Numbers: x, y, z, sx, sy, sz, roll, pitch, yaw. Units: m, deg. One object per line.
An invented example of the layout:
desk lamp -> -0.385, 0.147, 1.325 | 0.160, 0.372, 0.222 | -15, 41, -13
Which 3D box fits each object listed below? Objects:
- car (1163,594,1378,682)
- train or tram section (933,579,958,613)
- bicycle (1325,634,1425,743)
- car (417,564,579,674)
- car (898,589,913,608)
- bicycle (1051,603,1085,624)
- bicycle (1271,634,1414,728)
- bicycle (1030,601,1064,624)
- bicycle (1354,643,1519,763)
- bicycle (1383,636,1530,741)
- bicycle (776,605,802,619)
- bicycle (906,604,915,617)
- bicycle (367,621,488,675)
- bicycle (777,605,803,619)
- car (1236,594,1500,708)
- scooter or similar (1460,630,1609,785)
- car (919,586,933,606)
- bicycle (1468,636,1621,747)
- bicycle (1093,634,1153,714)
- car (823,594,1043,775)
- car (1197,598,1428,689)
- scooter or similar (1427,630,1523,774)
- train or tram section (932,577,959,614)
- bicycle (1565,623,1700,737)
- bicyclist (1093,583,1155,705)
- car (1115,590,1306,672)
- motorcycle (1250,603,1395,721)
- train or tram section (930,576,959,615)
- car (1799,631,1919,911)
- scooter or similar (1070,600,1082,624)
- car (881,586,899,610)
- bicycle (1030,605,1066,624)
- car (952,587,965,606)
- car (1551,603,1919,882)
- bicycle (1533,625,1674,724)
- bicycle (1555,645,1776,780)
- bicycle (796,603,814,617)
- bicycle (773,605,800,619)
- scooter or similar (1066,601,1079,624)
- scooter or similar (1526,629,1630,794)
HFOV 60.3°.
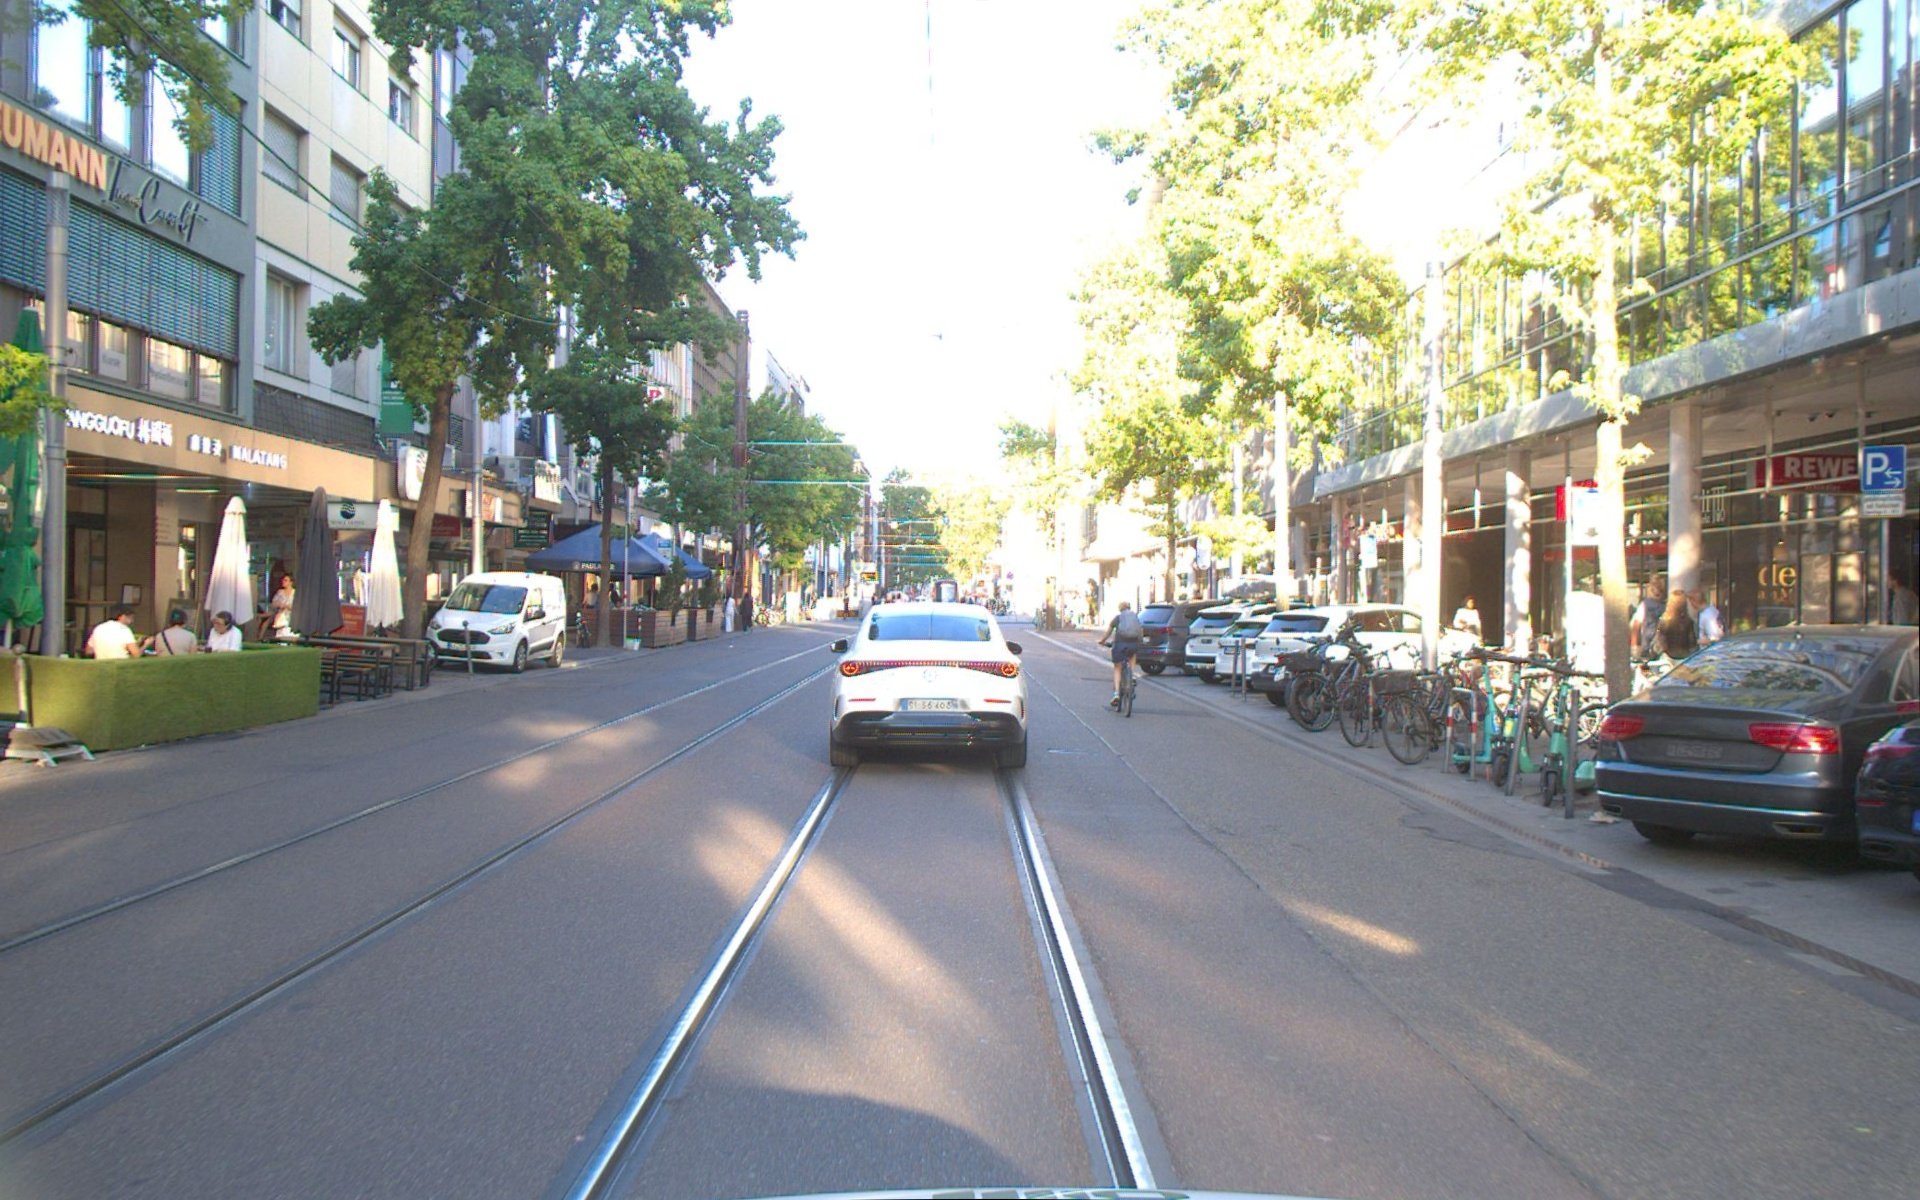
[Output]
car -> 6.419, 0.747, 34.085 | 4.194, 1.615, 1.864 | -2, 0, -32
train or tram section -> -1.580, -0.467, 181.869 | 2.639, 3.578, 11.141 | 0, 0, 0
bicycle -> 5.003, 1.044, 19.879 | 0.472, 1.183, 1.687 | -3, 0, 39
car -> -8.953, 0.347, 32.448 | 1.759, 1.897, 4.554 | 3, 0, 1
car -> -7.449, -0.217, 226.659 | 1.871, 2.504, 5.274 | 0, 0, 0
bicycle -> 6.272, 0.790, 96.195 | 1.874, 1.177, 0.608 | -1, 0, -12
bicycle -> 5.066, 1.051, 21.862 | 1.870, 1.139, 0.661 | -2, -1, -30
bicycle -> 5.085, 0.743, 96.991 | 1.874, 1.304, 0.608 | -1, 0, -12
bicycle -> 5.090, 1.075, 17.666 | 1.543, 1.107, 0.860 | -3, 2, -31
bicycle -> 5.900, 1.030, 19.639 | 1.669, 1.125, 0.626 | -2, 0, -27
bicycle -> -9.987, 0.709, 96.750 | 1.462, 0.797, 0.344 | 2, 0, 1
bicycle -> -4.465, 0.940, 148.666 | 0.784, 1.162, 2.256 | 2, 0, -2
bicycle -> -9.298, 0.841, 28.929 | 0.821, 0.880, 1.852 | 3, 0, 38
bicycle -> -9.957, 0.703, 97.119 | 1.462, 0.797, 0.344 | 2, 0, 1
car -> 6.585, 0.768, 26.587 | 4.110, 1.599, 1.832 | -2, 0, -34
scooter or similar -> 5.272, 0.961, 15.154 | 1.290, 1.298, 0.558 | -3, 0, -32
car -> -5.290, -0.621, 258.727 | 2.056, 2.948, 5.274 | 0, 0, 0
bicycle -> 6.560, 1.002, 18.551 | 1.652, 1.093, 0.725 | -3, 2, -31
bicycle -> 2.338, 1.026, 23.561 | 0.703, 1.012, 2.060 | 3, 0, 8
car -> -0.249, 0.712, 16.045 | 1.819, 1.481, 4.174 | 2, 0, -1
car -> 6.700, 0.789, 31.384 | 4.092, 1.525, 1.676 | -2, 0, -25
scooter or similar -> 4.995, 0.965, 16.107 | 0.441, 1.298, 1.306 | -3, 0, -1
train or tram section -> -1.508, -0.458, 170.029 | 2.639, 3.578, 12.543 | 0, 0, 0
bicycle -> 7.765, 0.899, 19.091 | 1.253, 1.193, 0.859 | -3, 2, -31
bicyclist -> 2.316, 0.609, 23.294 | 0.761, 1.641, 0.913 | 2, 0, 8
car -> 5.782, 0.684, 38.013 | 4.300, 1.681, 1.676 | -2, 0, -32
motorcycle -> 5.154, 0.850, 23.430 | 2.302, 1.536, 0.845 | -1, -1, -45
train or tram section -> -1.438, -0.443, 157.478 | 2.639, 3.578, 12.543 | 0, 0, 0
car -> 7.275, 0.866, 9.404 | 4.586, 1.451, 1.921 | -1, 0, -22
scooter or similar -> 6.441, 0.680, 91.626 | 0.482, 1.299, 0.658 | -1, 0, -12
car -> -8.781, -0.303, 207.861 | 1.953, 2.948, 5.274 | 0, 0, 0
bicycle -> 5.300, 0.858, 99.977 | 2.076, 1.115, 0.608 | 1, -1, -12
car -> -0.200, -0.531, 259.098 | 2.056, 2.948, 5.284 | 0, 0, 0
car -> 6.624, 0.838, 11.983 | 5.006, 1.494, 1.952 | -2, 0, -37
bicycle -> 8.181, 0.929, 21.023 | 1.751, 1.125, 0.627 | -2, 0, -26
bicycle -> 6.441, 0.994, 15.190 | 0.546, 1.127, 1.826 | -2, 0, -36
bicycle -> -11.207, 0.709, 119.698 | 0.703, 1.027, 2.041 | 0, 0, 13
bicycle -> -10.105, 0.707, 96.386 | 1.462, 0.797, 0.344 | 2, 0, 1
scooter or similar -> 6.272, 0.699, 92.266 | 0.518, 1.299, 0.658 | -1, 0, -12
scooter or similar -> 5.369, 0.941, 14.336 | 0.449, 1.298, 1.302 | -3, 0, 36
